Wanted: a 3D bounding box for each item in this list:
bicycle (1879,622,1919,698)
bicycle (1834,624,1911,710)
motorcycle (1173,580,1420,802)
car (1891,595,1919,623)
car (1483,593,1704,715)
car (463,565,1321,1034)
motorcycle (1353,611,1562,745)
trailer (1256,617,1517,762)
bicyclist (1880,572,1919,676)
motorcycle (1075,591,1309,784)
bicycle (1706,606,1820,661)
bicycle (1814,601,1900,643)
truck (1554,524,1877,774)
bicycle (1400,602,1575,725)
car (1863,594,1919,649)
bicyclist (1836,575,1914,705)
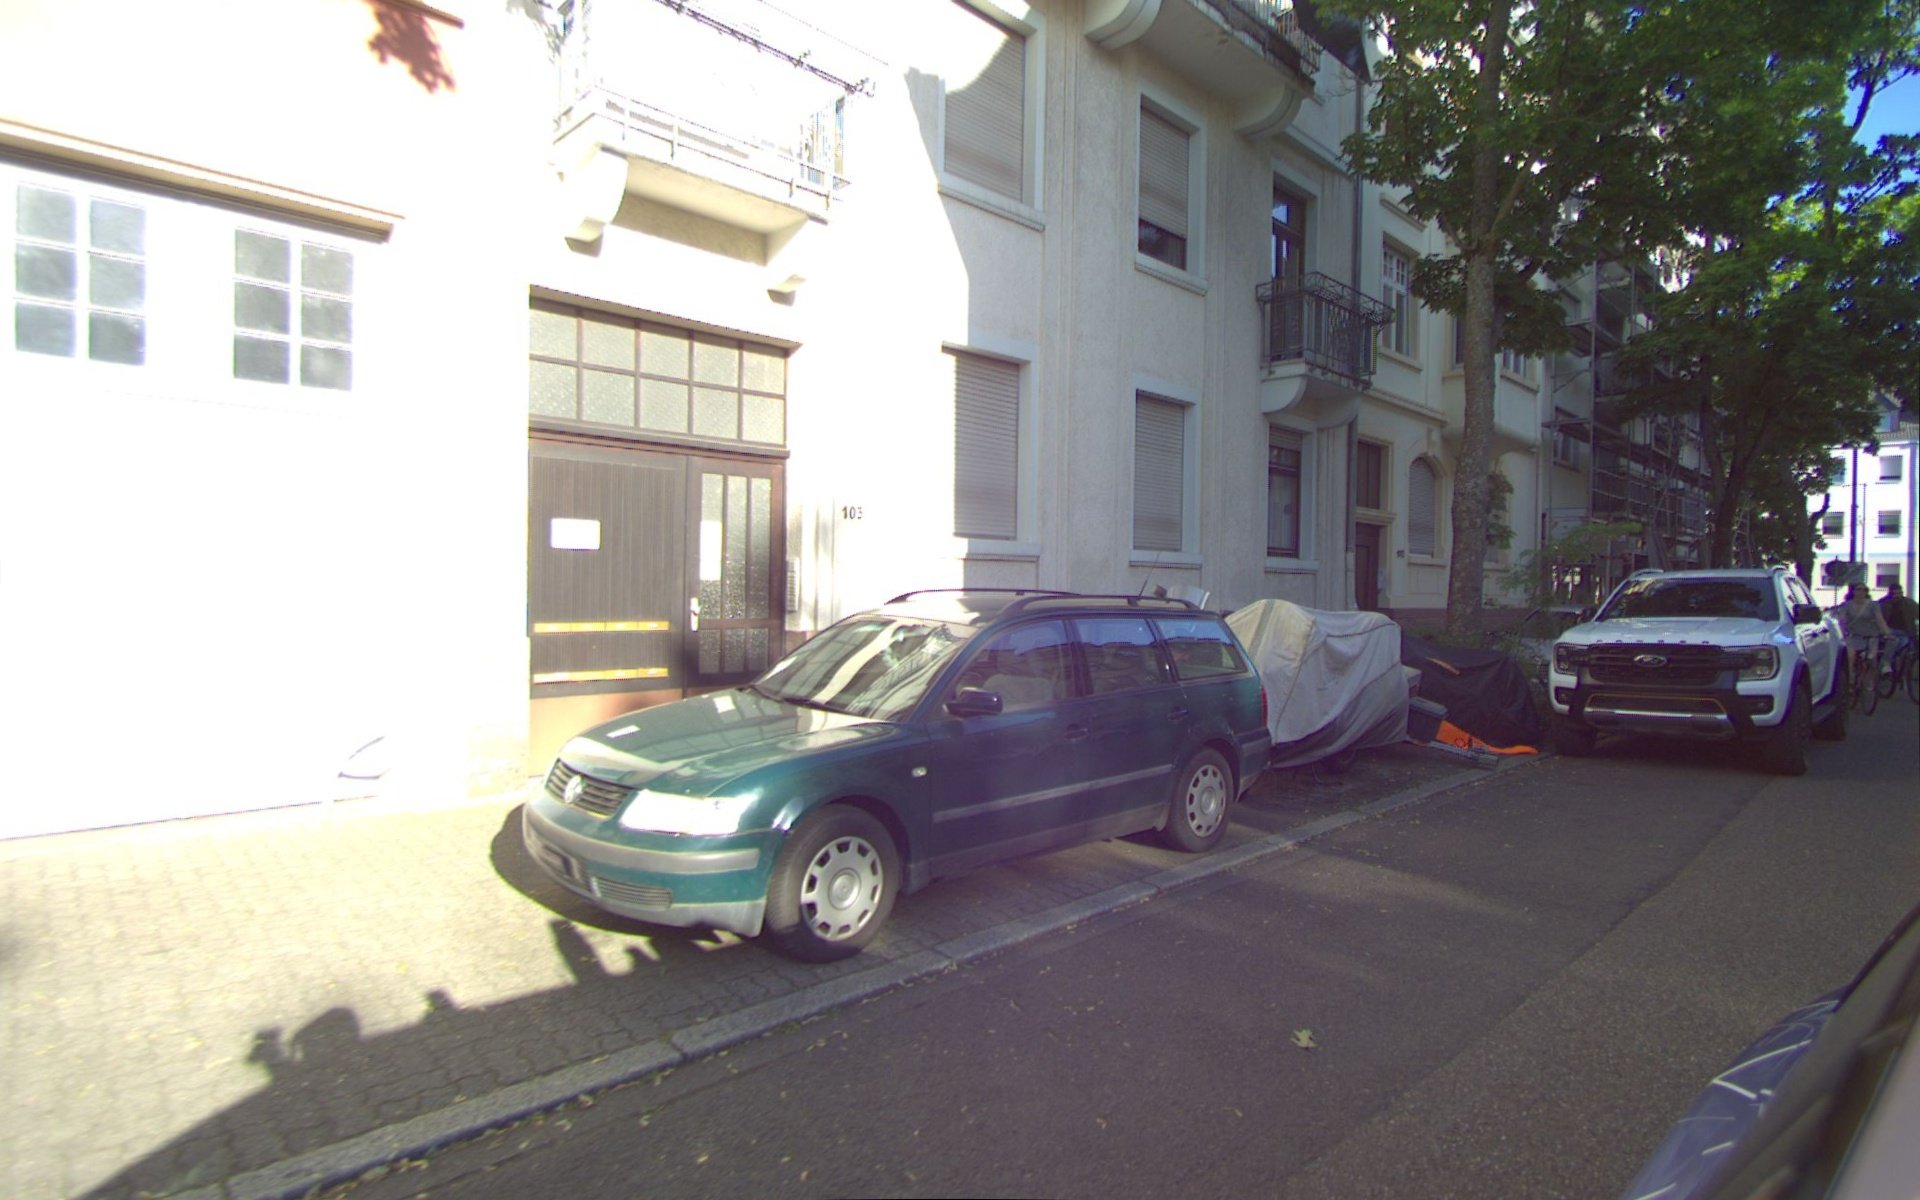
[{"bbox_3d":[14.923,0.919,15.783,1.827,1.073,0.739,-1,0,-44],"label":"bicycle"},{"bbox_3d":[12.516,0.888,13.874,0.705,1.059,1.829,-3,-2,43],"label":"bicycle"},{"bbox_3d":[2.680,0.609,7.924,2.102,1.504,0.931,0,0,-43],"label":"motorcycle"},{"bbox_3d":[53.823,0.520,55.116,4.475,1.526,1.916,1,1,41],"label":"car"},{"bbox_3d":[9.241,0.654,14.604,4.357,1.439,1.682,0,3,-44],"label":"car"},{"bbox_3d":[0.018,0.638,5.626,4.700,1.548,1.753,0,2,-43],"label":"car"},{"bbox_3d":[4.961,0.753,10.191,1.735,1.256,0.701,1,0,8],"label":"motorcycle"},{"bbox_3d":[3.929,0.753,9.352,2.072,1.126,1.102,1,0,33],"label":"trailer"},{"bbox_3d":[14.909,0.361,15.782,0.965,1.585,0.756,0,-1,-43],"label":"bicyclist"},{"bbox_3d":[2.020,0.644,8.601,2.196,1.434,0.862,0,0,-43],"label":"motorcycle"},{"bbox_3d":[17.781,0.711,22.462,0.732,1.135,1.933,1,0,-14],"label":"bicycle"},{"bbox_3d":[29.526,0.707,33.350,1.959,1.169,0.743,5,4,33],"label":"bicycle"},{"bbox_3d":[8.073,0.370,10.555,5.448,1.973,1.830,0,1,-44],"label":"truck"},{"bbox_3d":[6.279,0.711,12.115,0.577,1.321,1.760,0,1,-44],"label":"bicycle"},{"bbox_3d":[28.509,0.599,30.300,3.896,1.555,1.804,0,0,-42],"label":"car"},{"bbox_3d":[12.566,0.529,13.923,0.714,1.710,0.967,-2,-2,41],"label":"bicyclist"}]
